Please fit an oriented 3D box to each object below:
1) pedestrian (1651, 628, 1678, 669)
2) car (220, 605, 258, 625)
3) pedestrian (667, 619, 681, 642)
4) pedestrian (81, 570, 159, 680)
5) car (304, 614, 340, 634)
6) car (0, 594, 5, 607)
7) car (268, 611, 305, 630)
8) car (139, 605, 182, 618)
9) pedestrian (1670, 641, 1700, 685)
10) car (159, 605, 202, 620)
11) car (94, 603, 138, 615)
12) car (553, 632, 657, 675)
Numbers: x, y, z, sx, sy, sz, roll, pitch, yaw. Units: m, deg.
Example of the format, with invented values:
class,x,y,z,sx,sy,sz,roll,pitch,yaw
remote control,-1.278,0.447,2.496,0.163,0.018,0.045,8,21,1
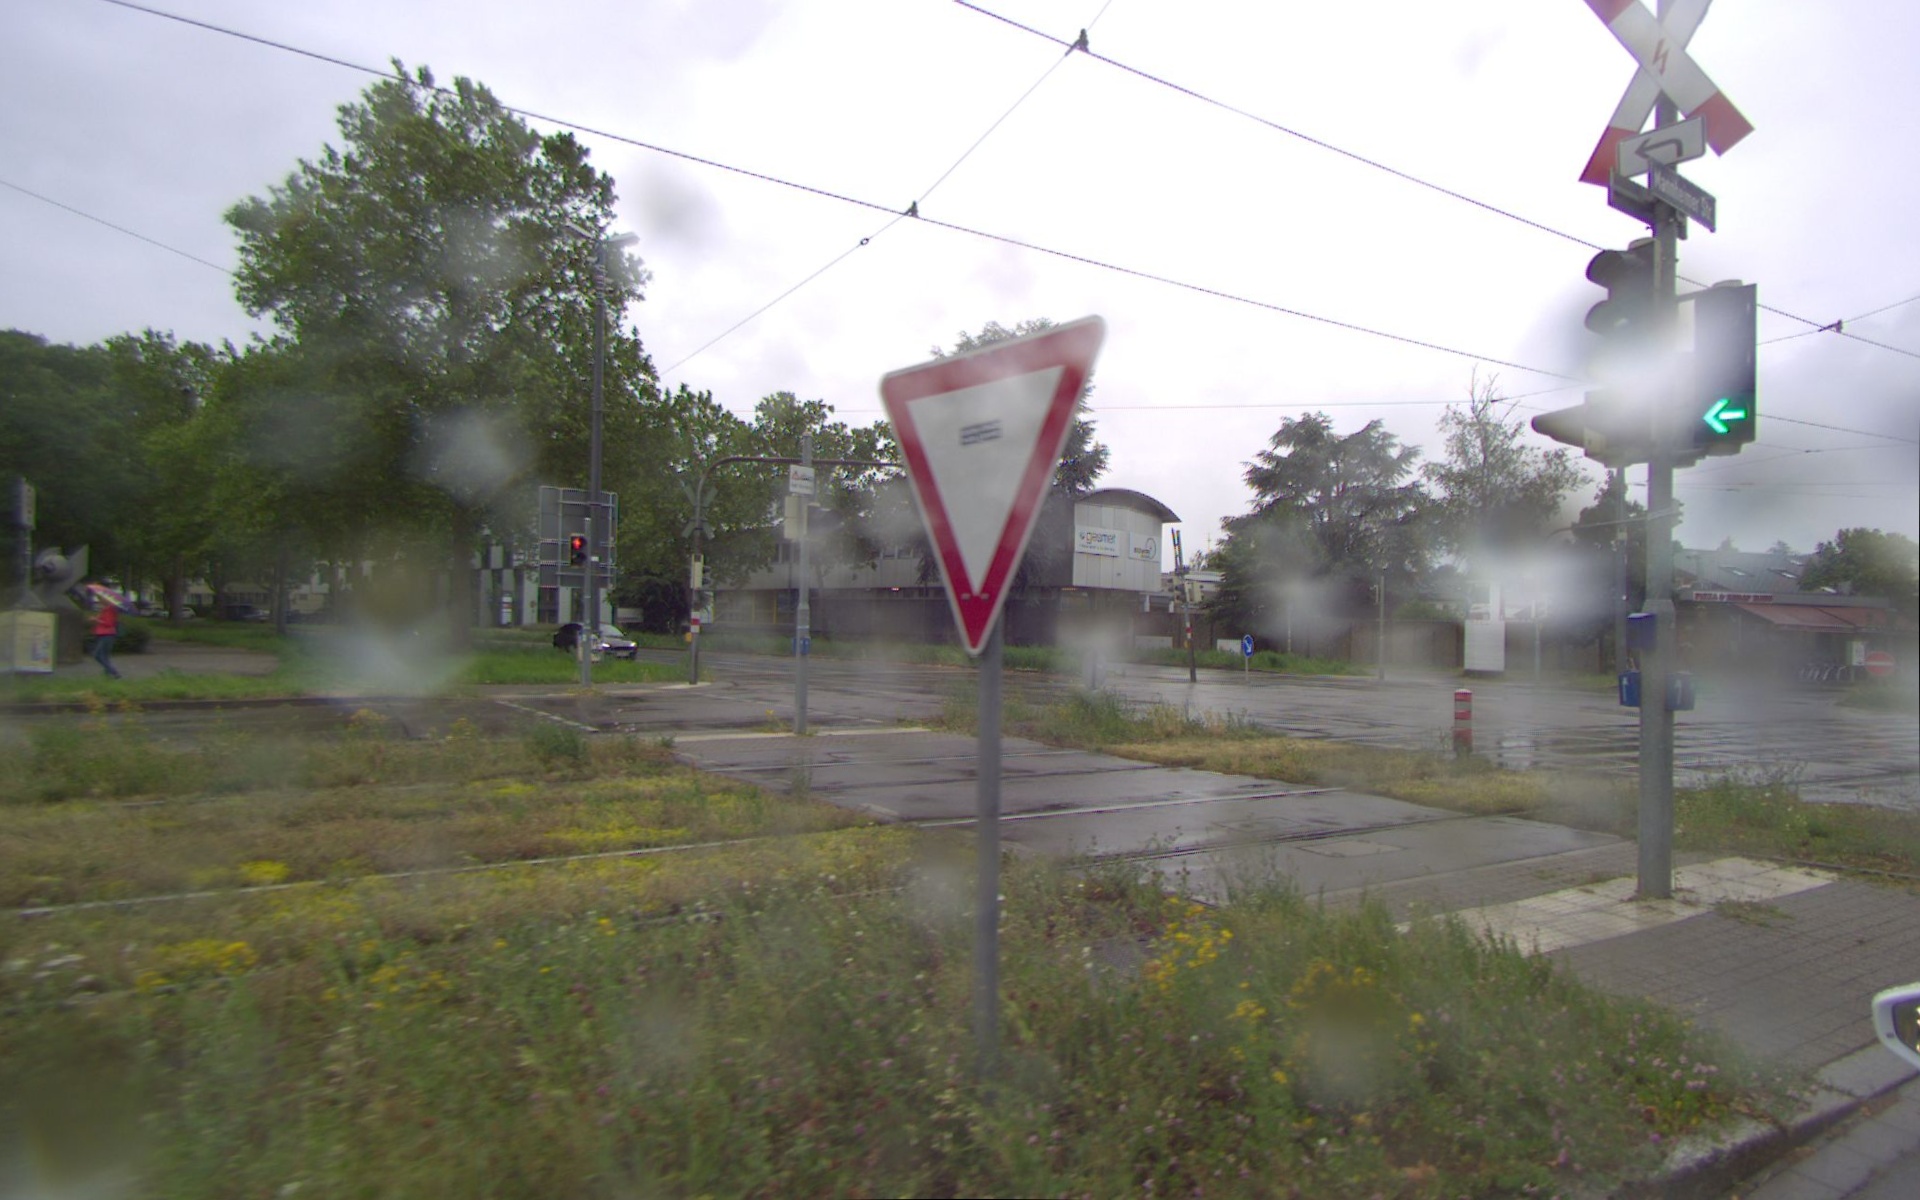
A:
class,x,y,z,sx,sy,sz,roll,pitch,yaw
pedestrian,36.122,2.494,51.504,0.712,2.040,0.793,2,0,-9
car,-82.994,1.732,115.683,3.930,2.116,2.124,2,-1,31
pedestrian,-21.565,2.303,75.733,0.812,1.690,0.670,2,0,38
pedestrian,-15.961,0.469,19.120,0.998,2.017,0.944,3,0,-37
car,-67.199,2.522,105.726,3.937,1.806,1.992,2,-1,38
car,-141.561,0.043,145.639,1.961,1.844,3.999,2,-1,22
car,-73.303,2.234,109.333,3.932,1.806,1.995,2,-1,33
car,-101.367,1.522,127.428,1.851,1.513,3.880,2,-1,21
pedestrian,30.900,2.672,42.794,0.877,1.821,0.720,2,1,-35
car,-97.864,1.582,126.166,1.852,1.673,3.876,2,-1,26
car,-110.162,1.171,131.121,1.851,1.524,3.880,2,-1,21
car,-13.169,1.947,37.152,4.249,1.420,1.796,-1,-1,41
